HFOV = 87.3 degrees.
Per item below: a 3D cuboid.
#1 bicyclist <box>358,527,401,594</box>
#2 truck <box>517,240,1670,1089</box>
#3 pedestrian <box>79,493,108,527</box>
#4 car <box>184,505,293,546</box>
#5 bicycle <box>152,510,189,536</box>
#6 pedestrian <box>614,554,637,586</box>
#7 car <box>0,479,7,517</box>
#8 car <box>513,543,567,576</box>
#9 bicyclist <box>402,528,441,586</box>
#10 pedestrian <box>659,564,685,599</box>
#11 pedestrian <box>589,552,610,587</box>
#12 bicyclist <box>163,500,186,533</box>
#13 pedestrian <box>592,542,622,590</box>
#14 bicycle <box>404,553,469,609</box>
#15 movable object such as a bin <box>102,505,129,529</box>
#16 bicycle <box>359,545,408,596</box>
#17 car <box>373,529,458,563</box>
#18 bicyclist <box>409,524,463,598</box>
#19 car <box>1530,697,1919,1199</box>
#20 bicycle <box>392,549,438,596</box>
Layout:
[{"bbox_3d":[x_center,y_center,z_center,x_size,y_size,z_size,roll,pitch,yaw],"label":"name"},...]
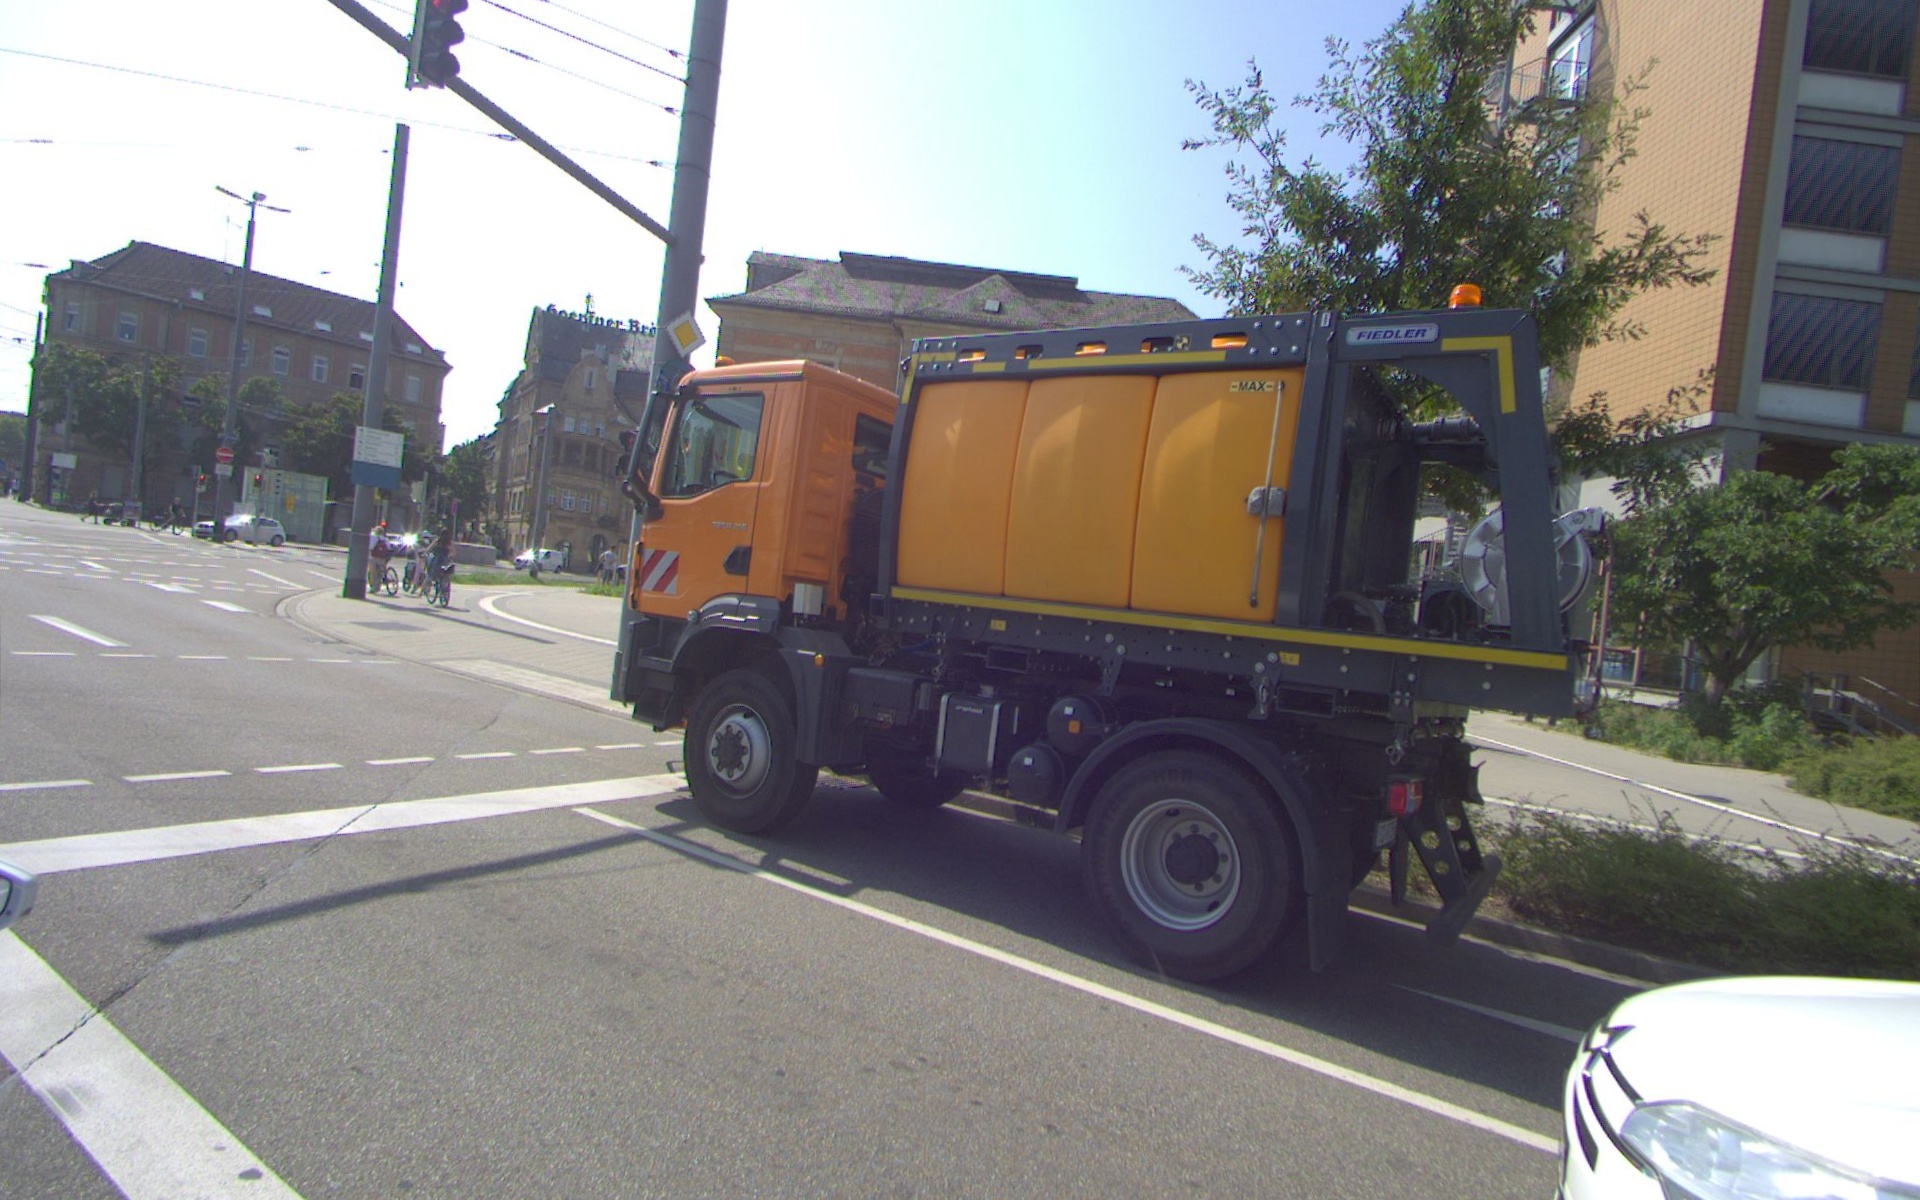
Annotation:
[{"bbox_3d":[-14.106,-0.963,24.444,0.702,1.537,0.626,7,1,44],"label":"bicyclist"},{"bbox_3d":[0.337,0.035,6.669,6.751,3.172,2.495,7,-1,34],"label":"truck"},{"bbox_3d":[-42.995,-4.465,49.918,0.519,1.564,0.852,7,1,24],"label":"pedestrian"},{"bbox_3d":[-35.179,-3.602,49.189,1.742,1.433,4.204,7,0,10],"label":"car"},{"bbox_3d":[-39.781,-3.871,50.689,1.622,1.068,0.471,7,1,12],"label":"bicycle"},{"bbox_3d":[-13.673,-1.234,41.119,0.659,1.229,0.523,6,1,-30],"label":"pedestrian"},{"bbox_3d":[-37.606,-4.041,36.060,1.742,1.433,4.771,7,0,13],"label":"car"},{"bbox_3d":[-31.540,-2.976,75.693,1.963,2.038,4.625,7,0,0],"label":"car"},{"bbox_3d":[-14.026,-1.118,26.193,0.882,1.410,0.529,7,1,44],"label":"bicyclist"},{"bbox_3d":[-12.524,-0.786,43.741,0.679,1.417,0.767,7,1,7],"label":"pedestrian"},{"bbox_3d":[-17.440,-1.478,48.689,0.727,1.595,0.787,6,1,-14],"label":"pedestrian"},{"bbox_3d":[-39.554,-4.209,50.658,0.511,1.548,0.613,7,1,8],"label":"bicyclist"},{"bbox_3d":[-13.568,-1.284,38.682,0.808,1.746,0.546,7,1,-9],"label":"pedestrian"},{"bbox_3d":[-11.770,-0.443,22.589,1.795,1.068,0.492,7,1,37],"label":"bicycle"},{"bbox_3d":[-42.359,-4.146,50.453,0.502,1.091,0.815,7,1,21],"label":"movable object such as a bin"},{"bbox_3d":[-13.938,-0.720,24.304,1.632,1.068,0.535,7,1,45],"label":"bicycle"},{"bbox_3d":[-33.287,-3.268,61.639,1.962,1.523,4.628,7,0,12],"label":"car"},{"bbox_3d":[-11.761,-0.874,22.595,0.653,1.537,0.734,7,1,36],"label":"bicyclist"},{"bbox_3d":[3.273,1.175,1.088,4.533,1.446,1.770,7,0,32],"label":"car"},{"bbox_3d":[-14.336,-0.733,26.463,1.632,1.068,0.535,7,1,45],"label":"bicycle"}]
